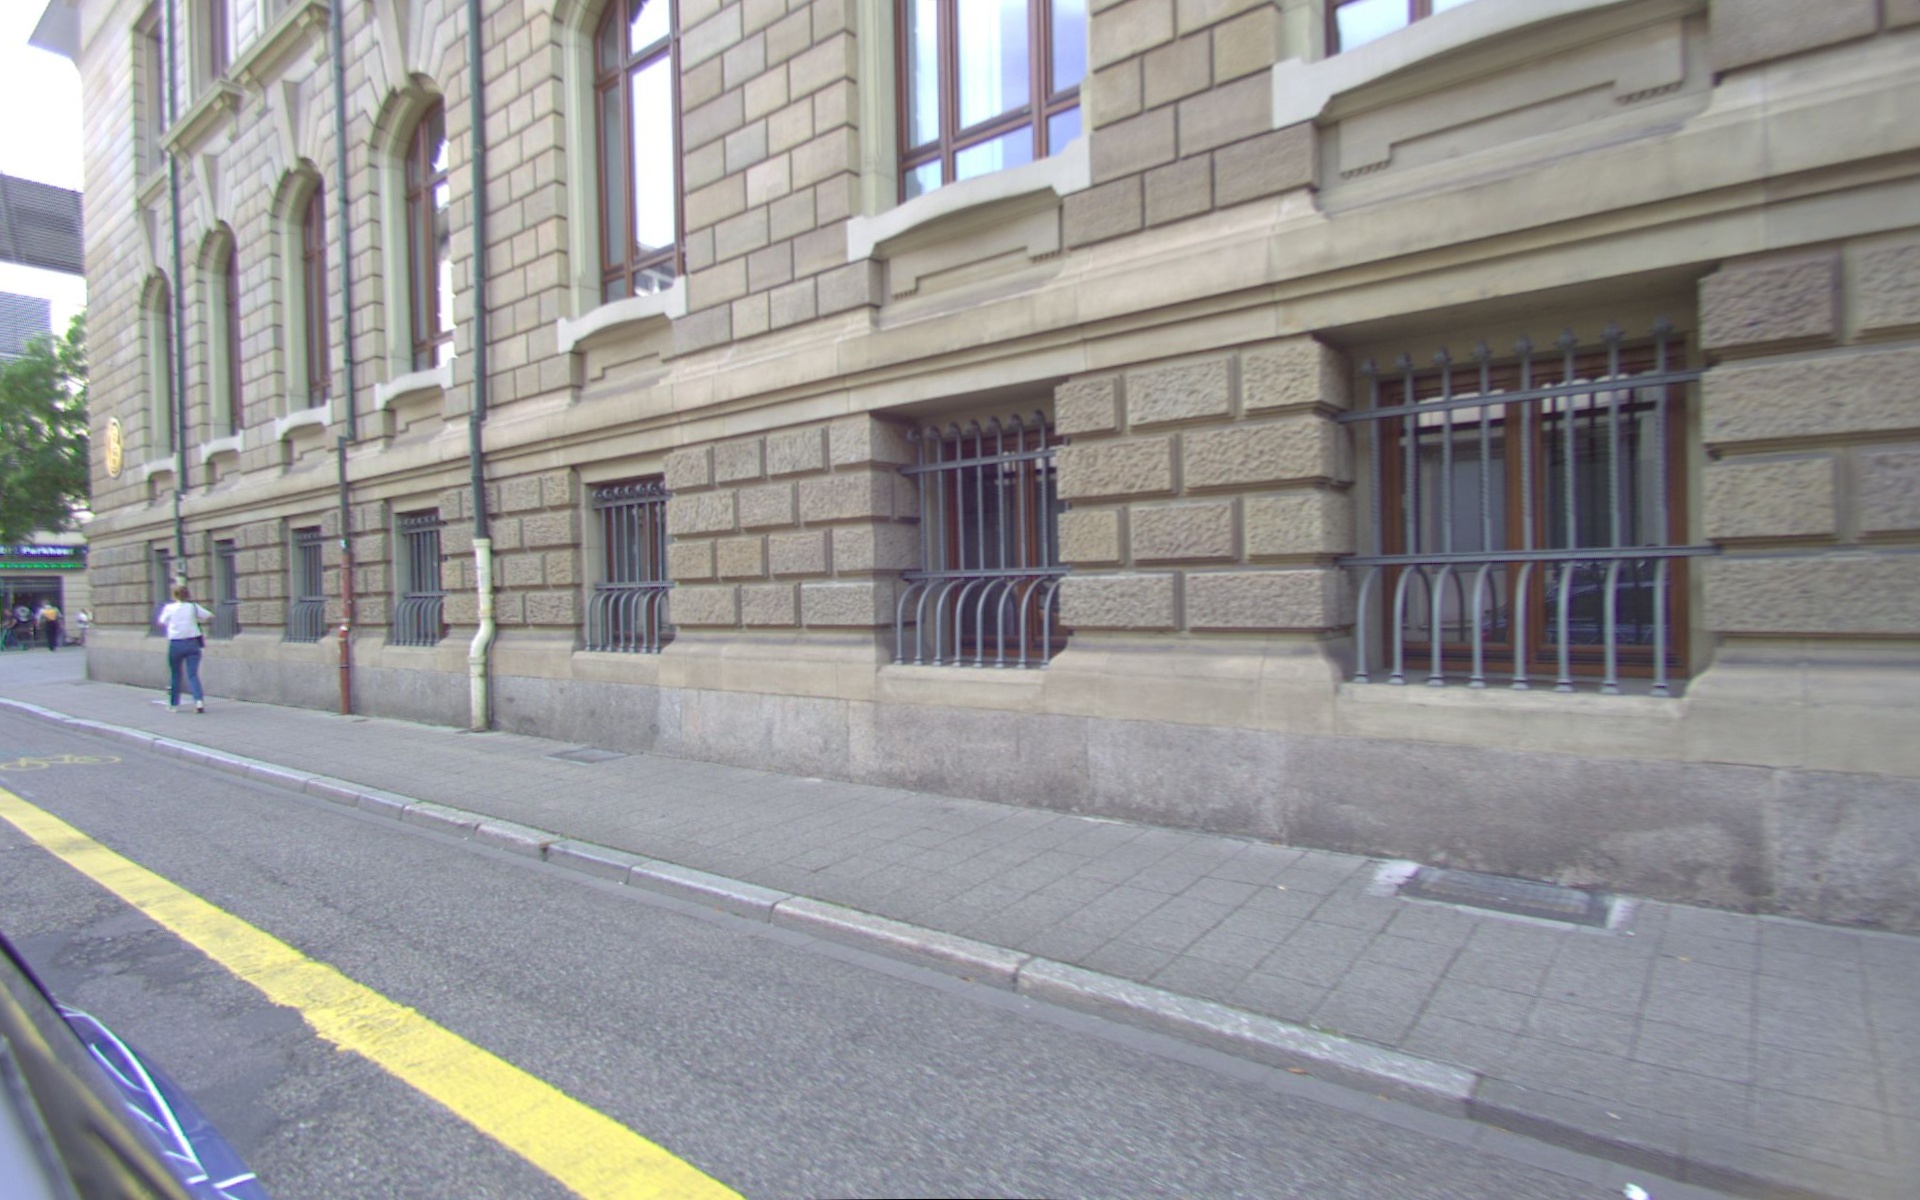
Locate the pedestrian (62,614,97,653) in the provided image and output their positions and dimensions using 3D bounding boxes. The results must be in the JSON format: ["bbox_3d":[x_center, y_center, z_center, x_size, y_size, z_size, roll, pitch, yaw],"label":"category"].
[{"bbox_3d":[-42.659,1.608,49.019,0.891,1.778,1.048,0,2,36],"label":"pedestrian"}]

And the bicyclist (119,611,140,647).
[{"bbox_3d":[-37.530,1.299,45.745,0.662,1.607,0.580,-1,0,35],"label":"bicyclist"}]

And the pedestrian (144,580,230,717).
[{"bbox_3d":[-10.949,0.659,14.325,1.046,1.833,0.657,-1,2,38],"label":"pedestrian"}]

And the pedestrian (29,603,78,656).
[{"bbox_3d":[-30.802,0.987,34.390,0.817,1.732,1.016,-1,2,38],"label":"pedestrian"}]

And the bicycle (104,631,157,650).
[{"bbox_3d":[-37.495,1.826,45.780,0.662,0.803,1.749,-1,0,35],"label":"bicycle"}]

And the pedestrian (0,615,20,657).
[{"bbox_3d":[-42.421,1.602,45.009,0.857,1.844,0.642,-1,0,25],"label":"pedestrian"}]
